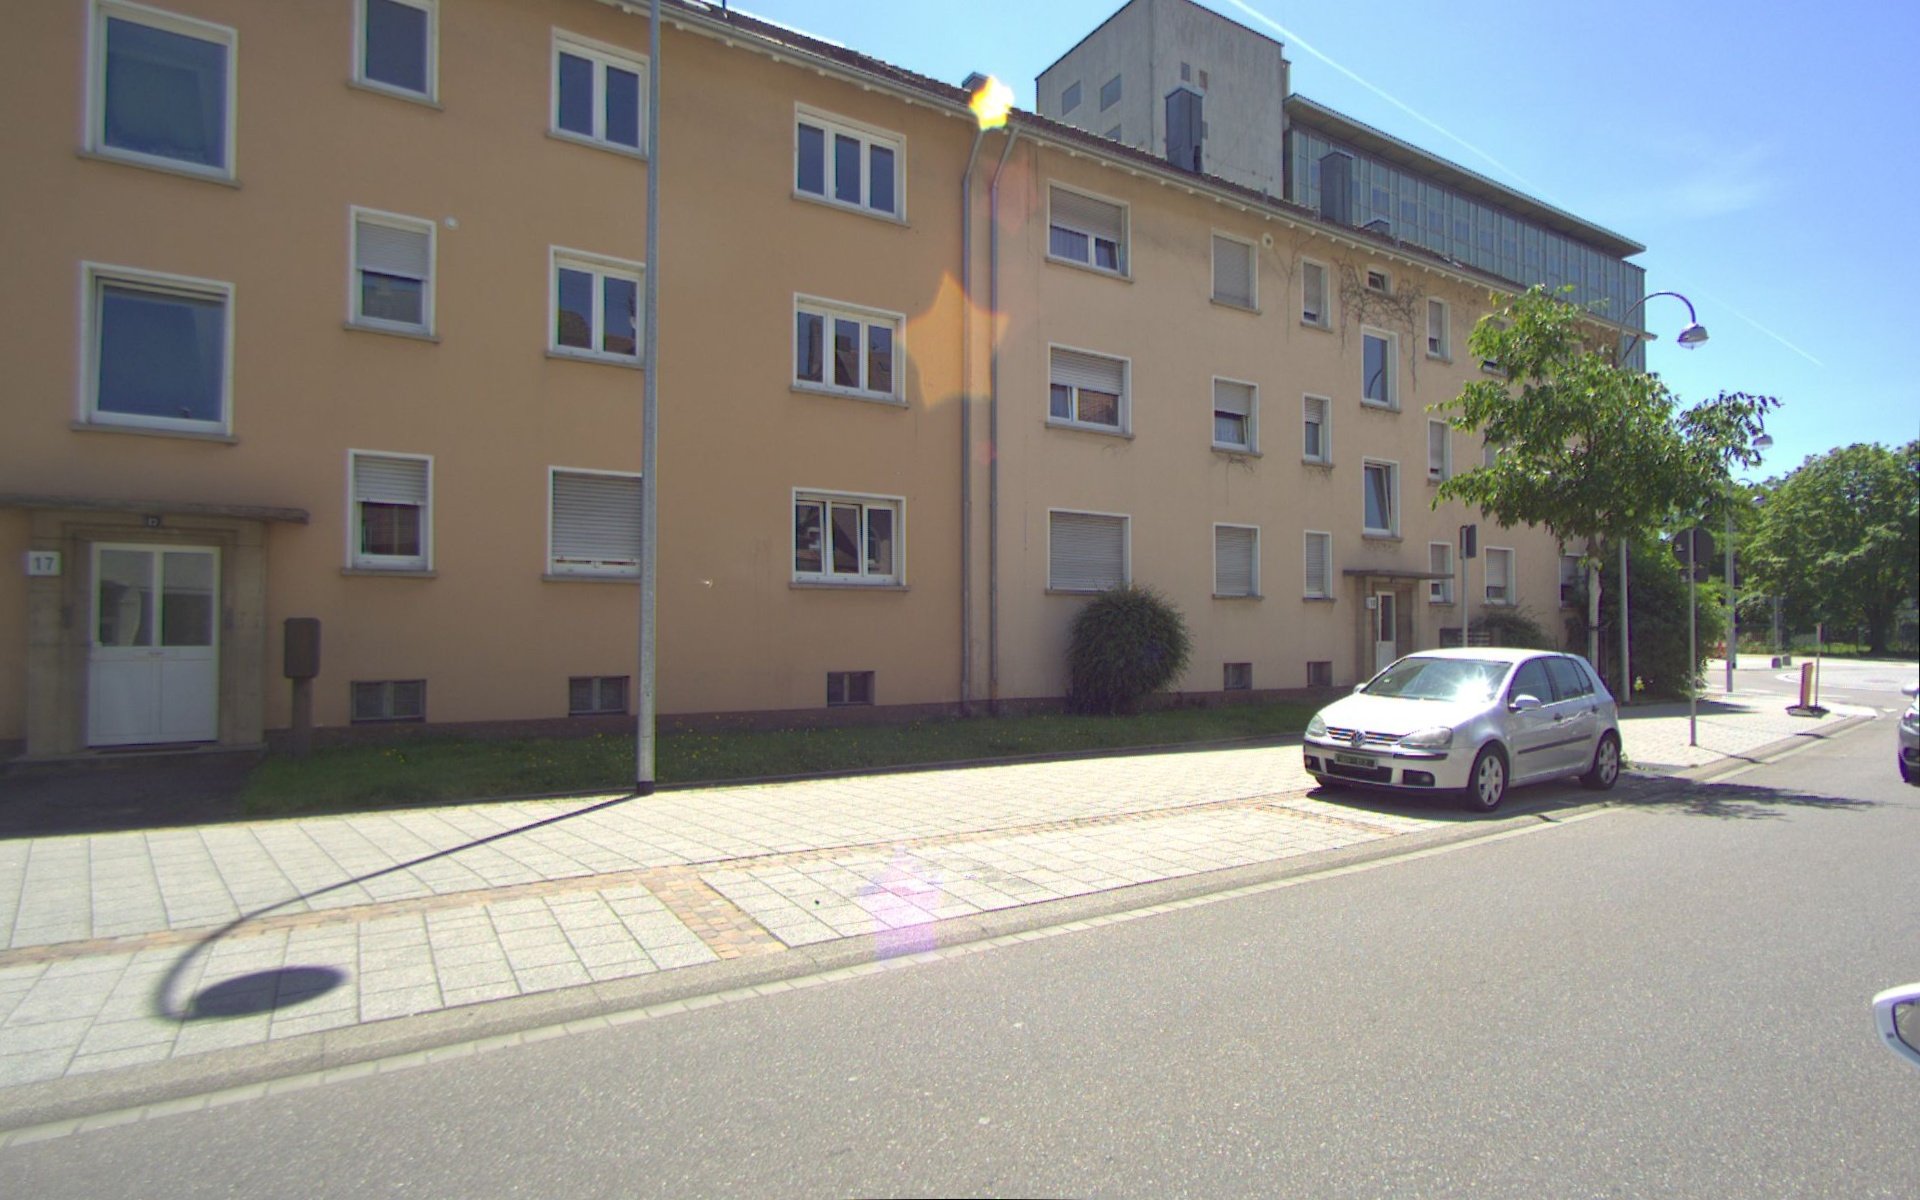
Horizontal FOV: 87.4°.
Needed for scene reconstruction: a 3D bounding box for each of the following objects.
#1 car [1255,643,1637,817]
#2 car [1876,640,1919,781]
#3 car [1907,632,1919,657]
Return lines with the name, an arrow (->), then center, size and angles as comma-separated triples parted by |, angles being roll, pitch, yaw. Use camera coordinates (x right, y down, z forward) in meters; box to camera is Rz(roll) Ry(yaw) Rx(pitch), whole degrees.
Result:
car -> 5.180, 1.207, 10.534 | 4.050, 1.439, 1.980 | 2, -2, -36
car -> 12.132, 1.222, 11.426 | 3.719, 1.516, 1.650 | 2, -3, -33
car -> 66.590, 3.101, 68.224 | 3.863, 1.618, 1.782 | 4, -3, -21
